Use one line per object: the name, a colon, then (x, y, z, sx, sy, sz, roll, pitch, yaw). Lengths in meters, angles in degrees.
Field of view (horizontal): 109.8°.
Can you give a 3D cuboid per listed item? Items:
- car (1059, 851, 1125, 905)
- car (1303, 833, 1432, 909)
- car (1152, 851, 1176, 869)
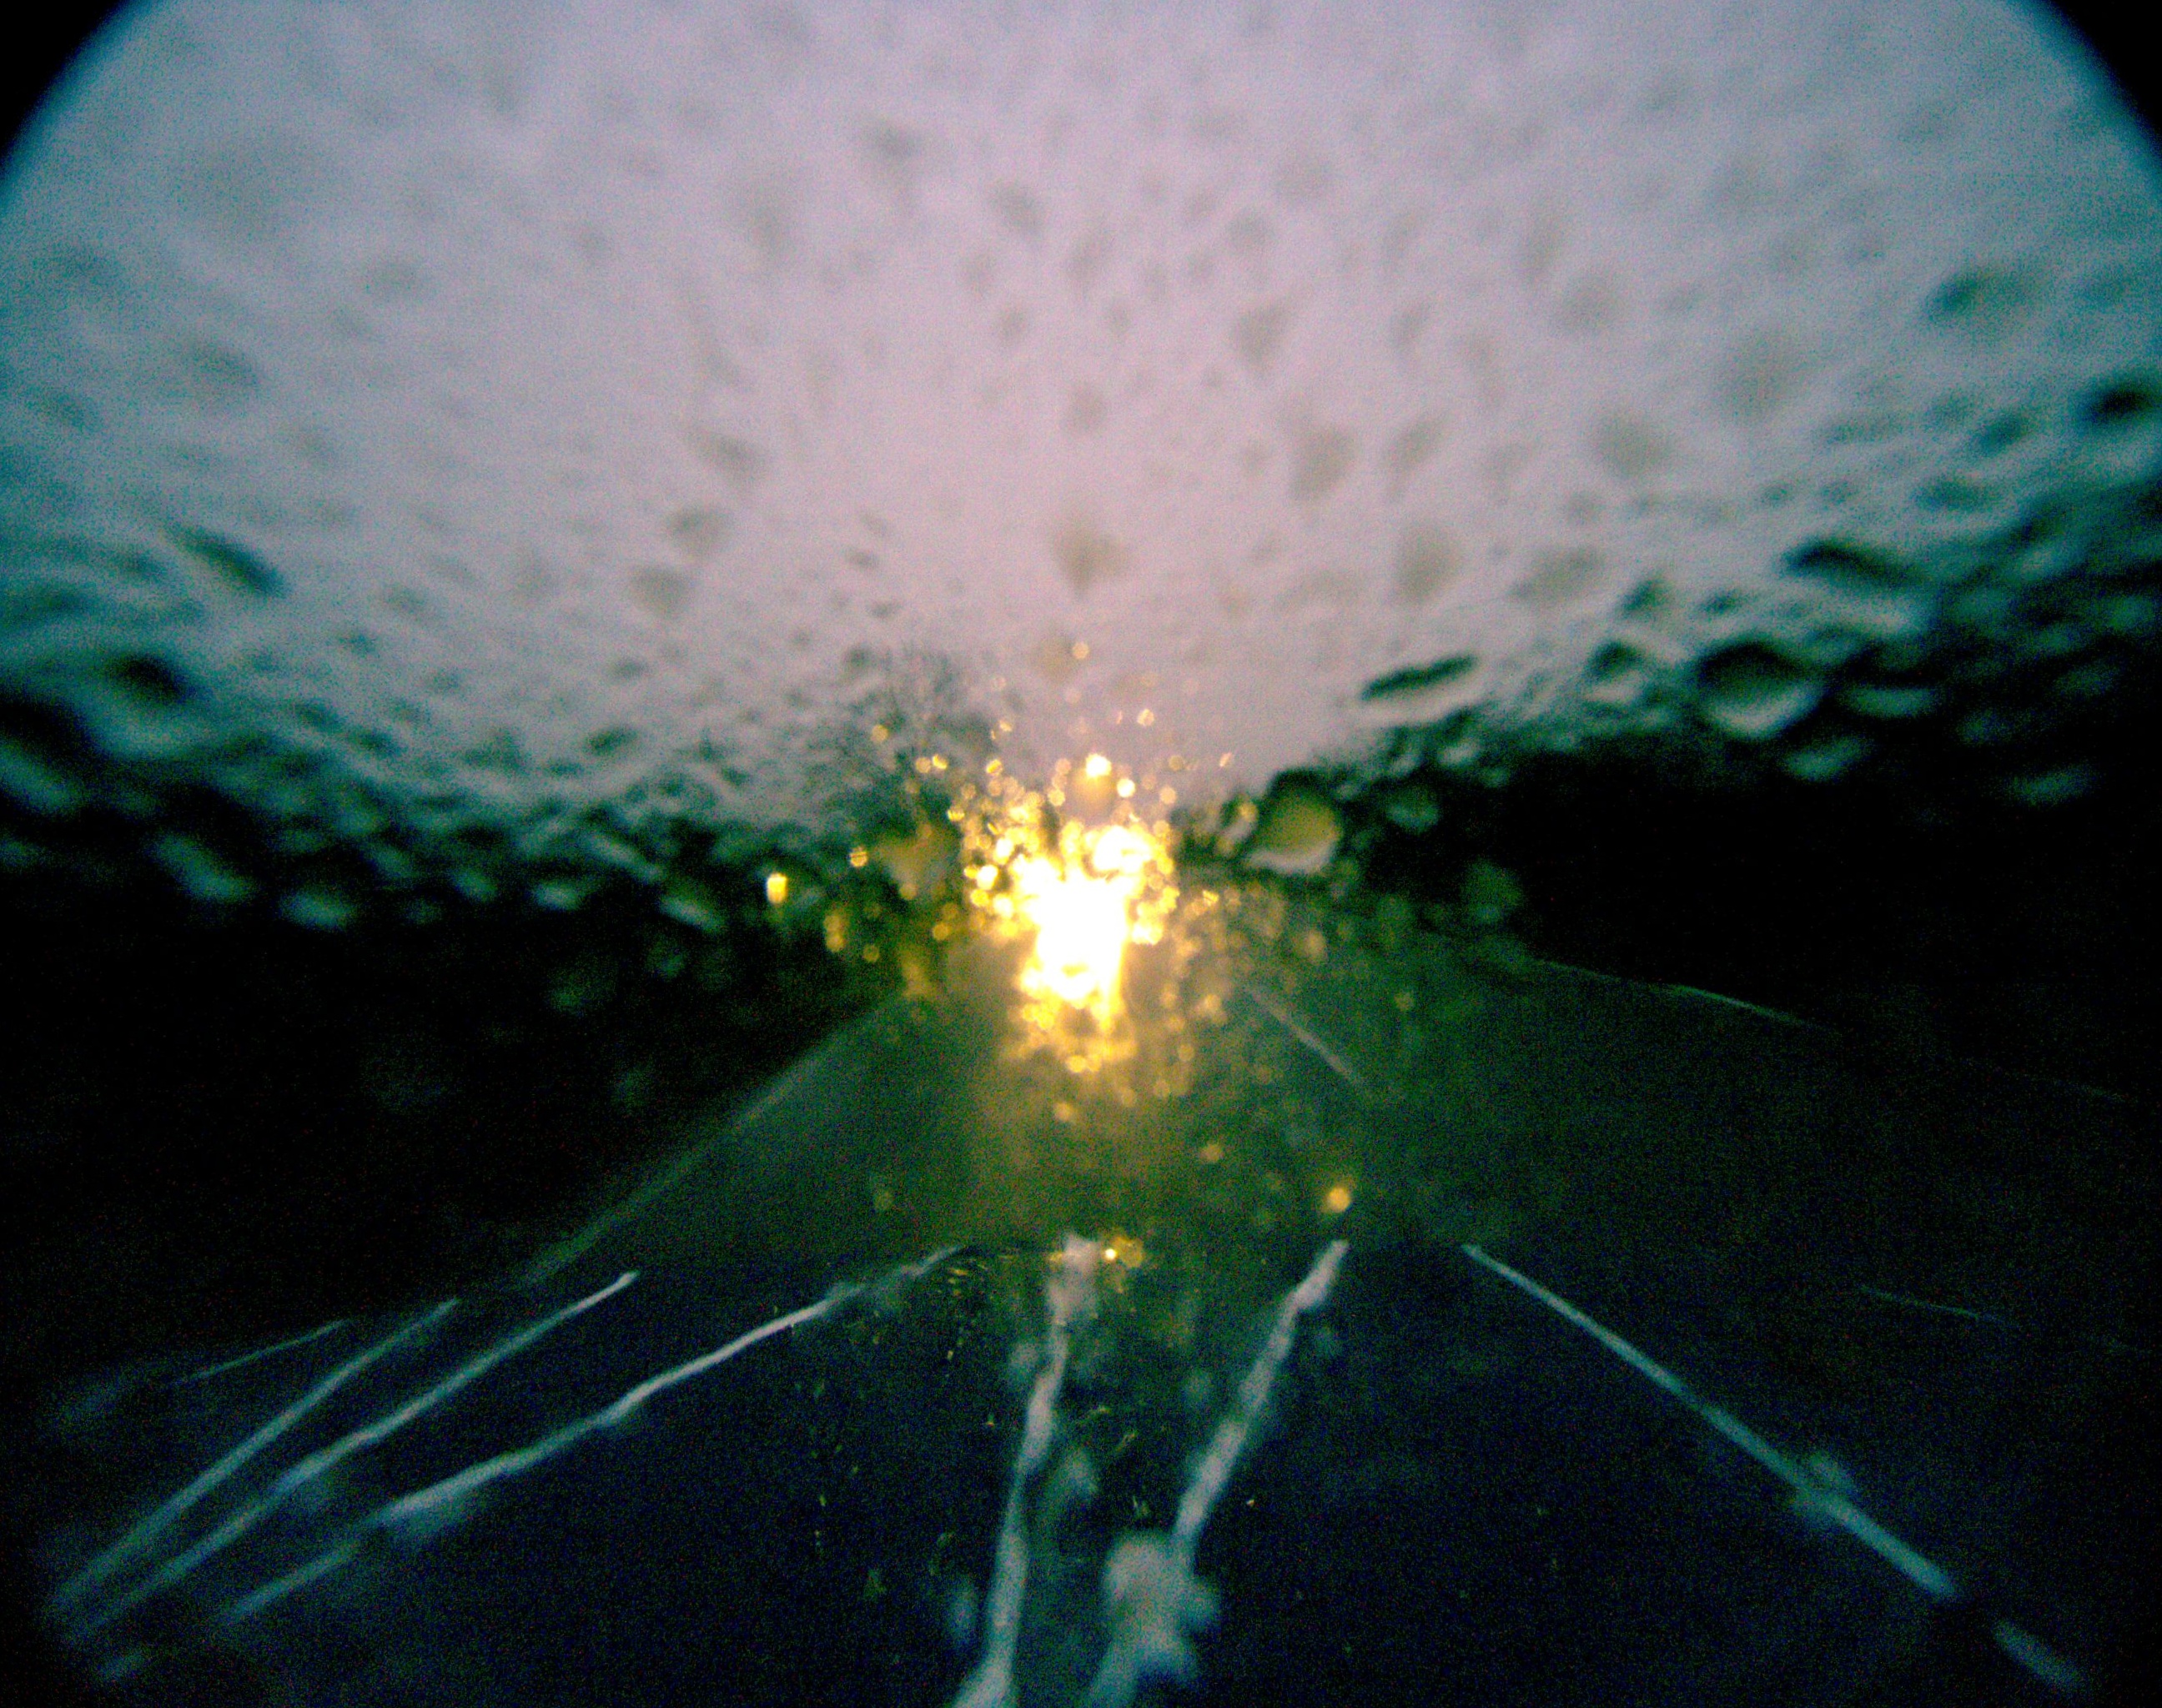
car: (0.479, 0.760, 26.325, 1.998, 1.601, 4.001, -3, 1, 4)
car: (7.570, 0.405, 20.555, 1.998, 1.774, 4.000, -3, 1, 1)
car: (7.409, 0.511, 68.039, 1.780, 1.599, 3.773, -1, 1, 1)
